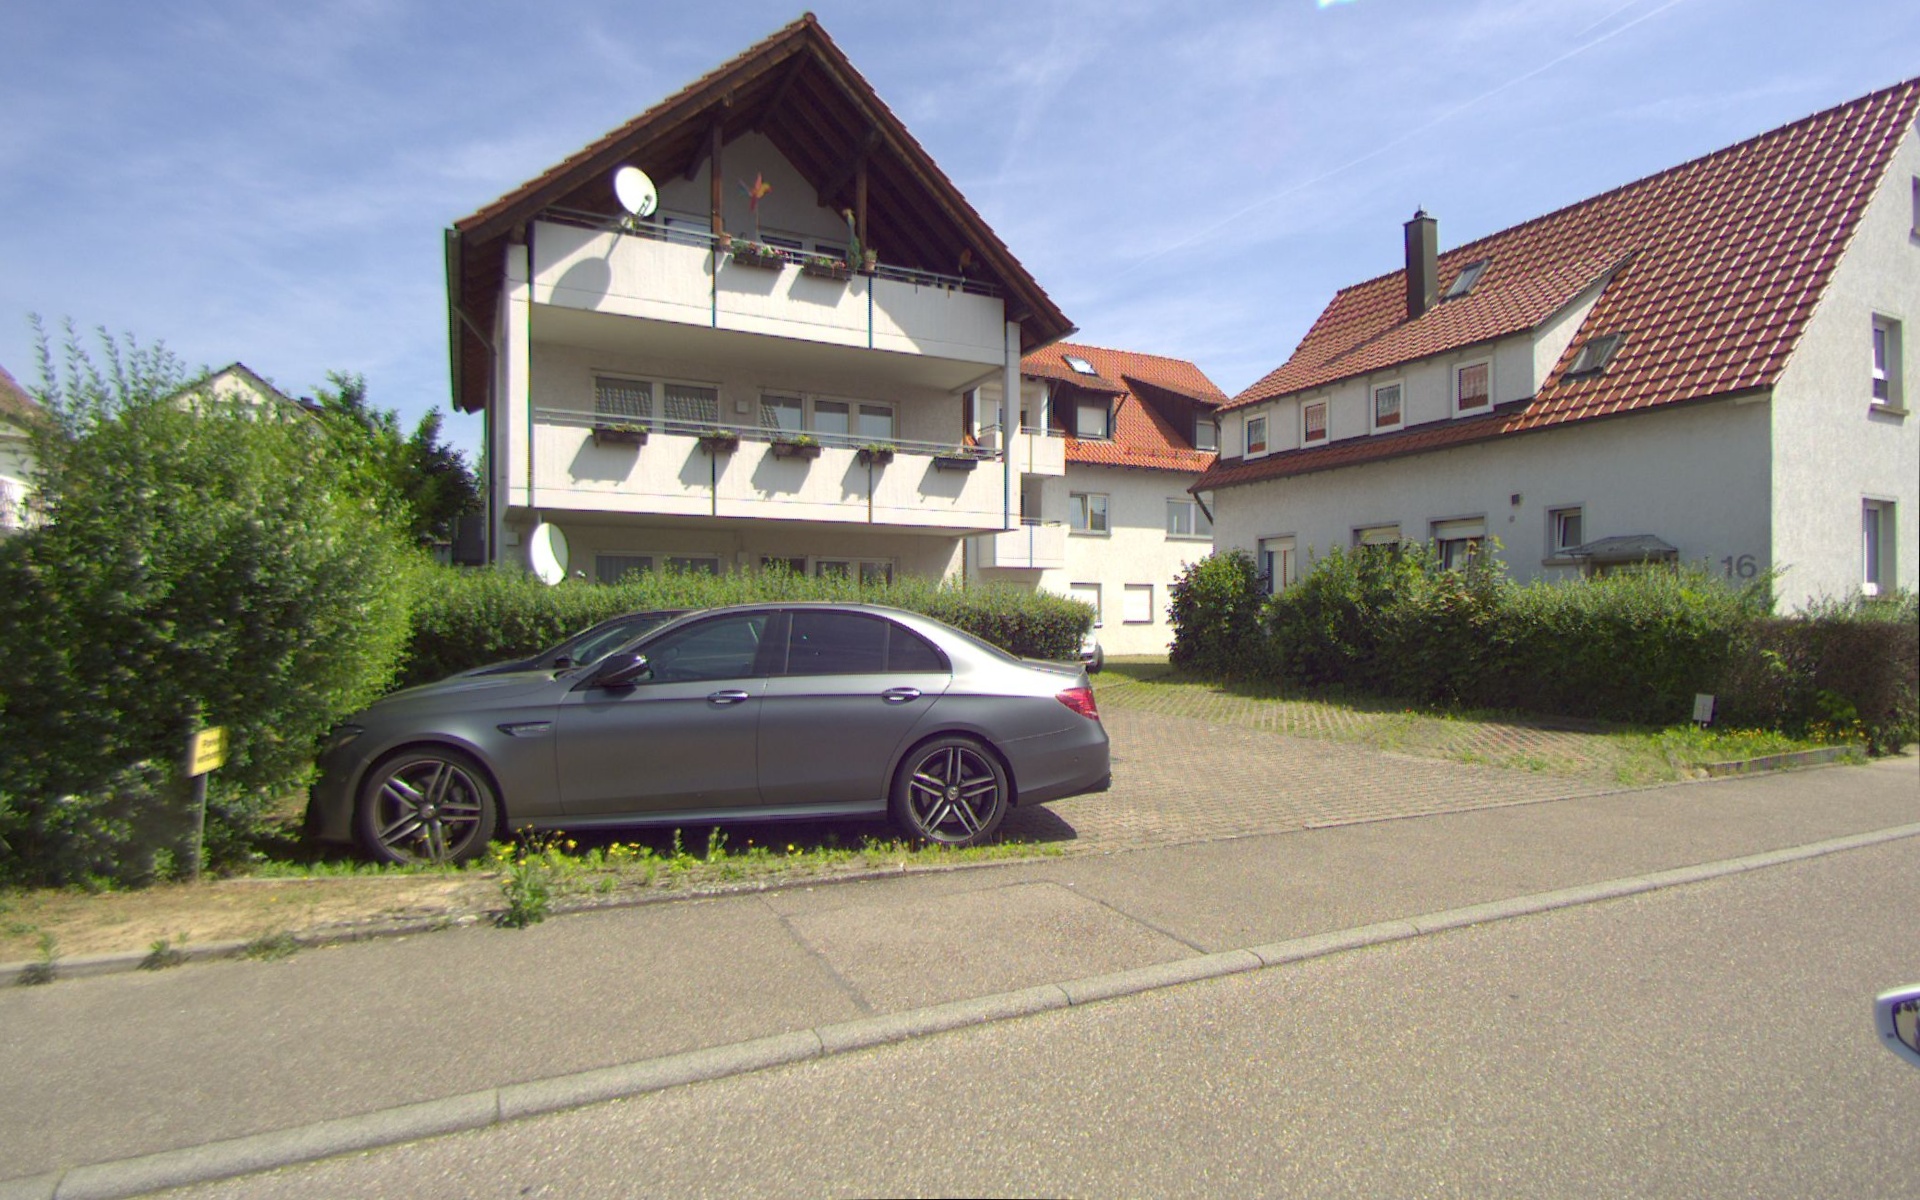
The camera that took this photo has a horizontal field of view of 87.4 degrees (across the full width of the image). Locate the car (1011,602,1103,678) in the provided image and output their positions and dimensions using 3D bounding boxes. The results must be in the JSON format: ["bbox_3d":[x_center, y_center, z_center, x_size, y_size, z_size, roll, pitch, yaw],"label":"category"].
[{"bbox_3d":[2.182,0.833,22.398,1.837,1.491,4.278,1,-1,6],"label":"car"}]

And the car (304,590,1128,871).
[{"bbox_3d":[-1.355,0.726,6.542,4.482,1.451,1.829,1,-1,-11],"label":"car"}]

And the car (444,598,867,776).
[{"bbox_3d":[-2.719,0.784,9.658,3.583,1.521,1.693,1,-1,-7],"label":"car"}]
